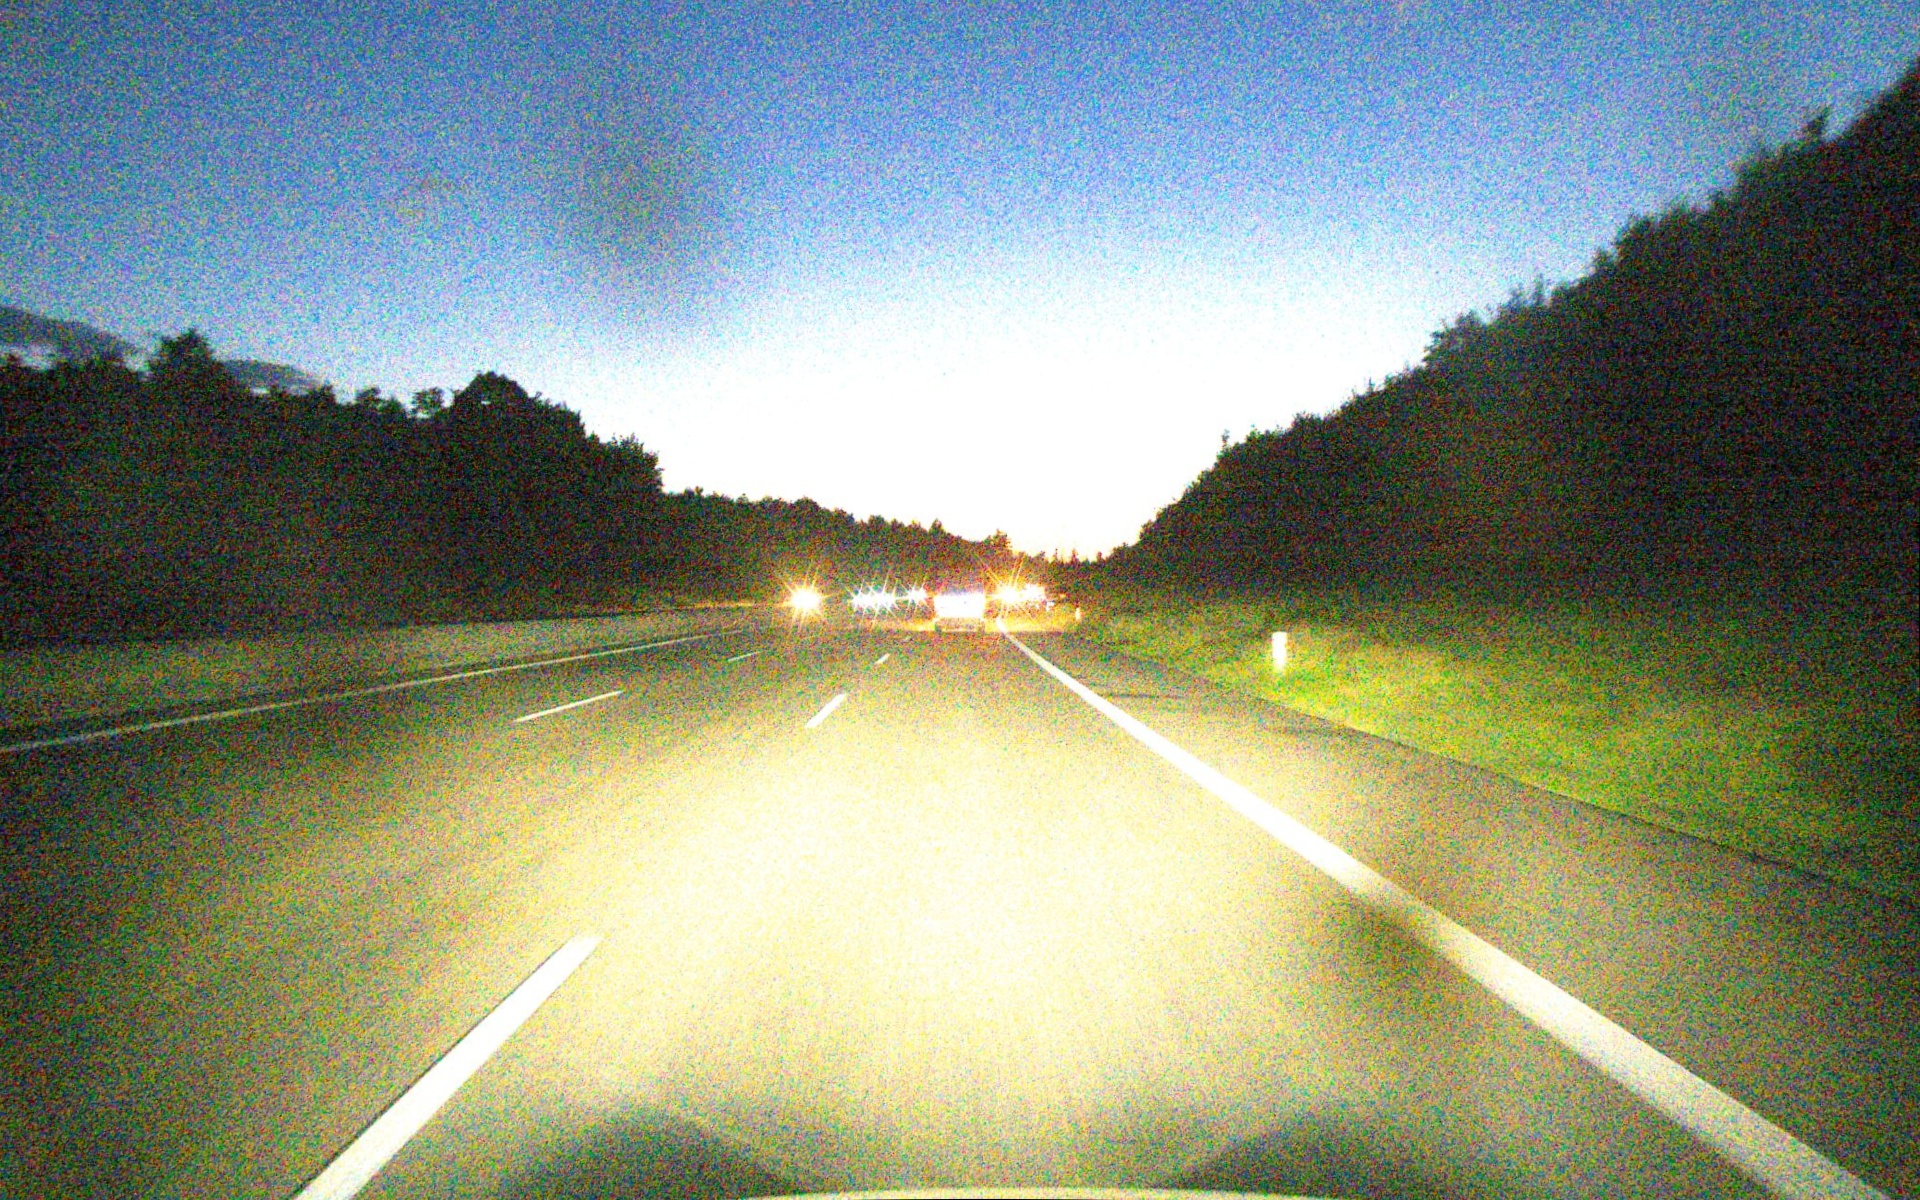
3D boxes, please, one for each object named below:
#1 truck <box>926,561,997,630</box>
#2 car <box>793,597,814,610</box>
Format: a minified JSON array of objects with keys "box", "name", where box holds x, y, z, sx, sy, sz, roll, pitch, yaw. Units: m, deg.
[{"box":[-0.045,-0.162,68.260,2.577,2.670,8.680,0,0,-2],"name":"truck"},{"box":[-18.904,0.433,199.364,1.952,1.534,4.402,0,0,2],"name":"car"}]
